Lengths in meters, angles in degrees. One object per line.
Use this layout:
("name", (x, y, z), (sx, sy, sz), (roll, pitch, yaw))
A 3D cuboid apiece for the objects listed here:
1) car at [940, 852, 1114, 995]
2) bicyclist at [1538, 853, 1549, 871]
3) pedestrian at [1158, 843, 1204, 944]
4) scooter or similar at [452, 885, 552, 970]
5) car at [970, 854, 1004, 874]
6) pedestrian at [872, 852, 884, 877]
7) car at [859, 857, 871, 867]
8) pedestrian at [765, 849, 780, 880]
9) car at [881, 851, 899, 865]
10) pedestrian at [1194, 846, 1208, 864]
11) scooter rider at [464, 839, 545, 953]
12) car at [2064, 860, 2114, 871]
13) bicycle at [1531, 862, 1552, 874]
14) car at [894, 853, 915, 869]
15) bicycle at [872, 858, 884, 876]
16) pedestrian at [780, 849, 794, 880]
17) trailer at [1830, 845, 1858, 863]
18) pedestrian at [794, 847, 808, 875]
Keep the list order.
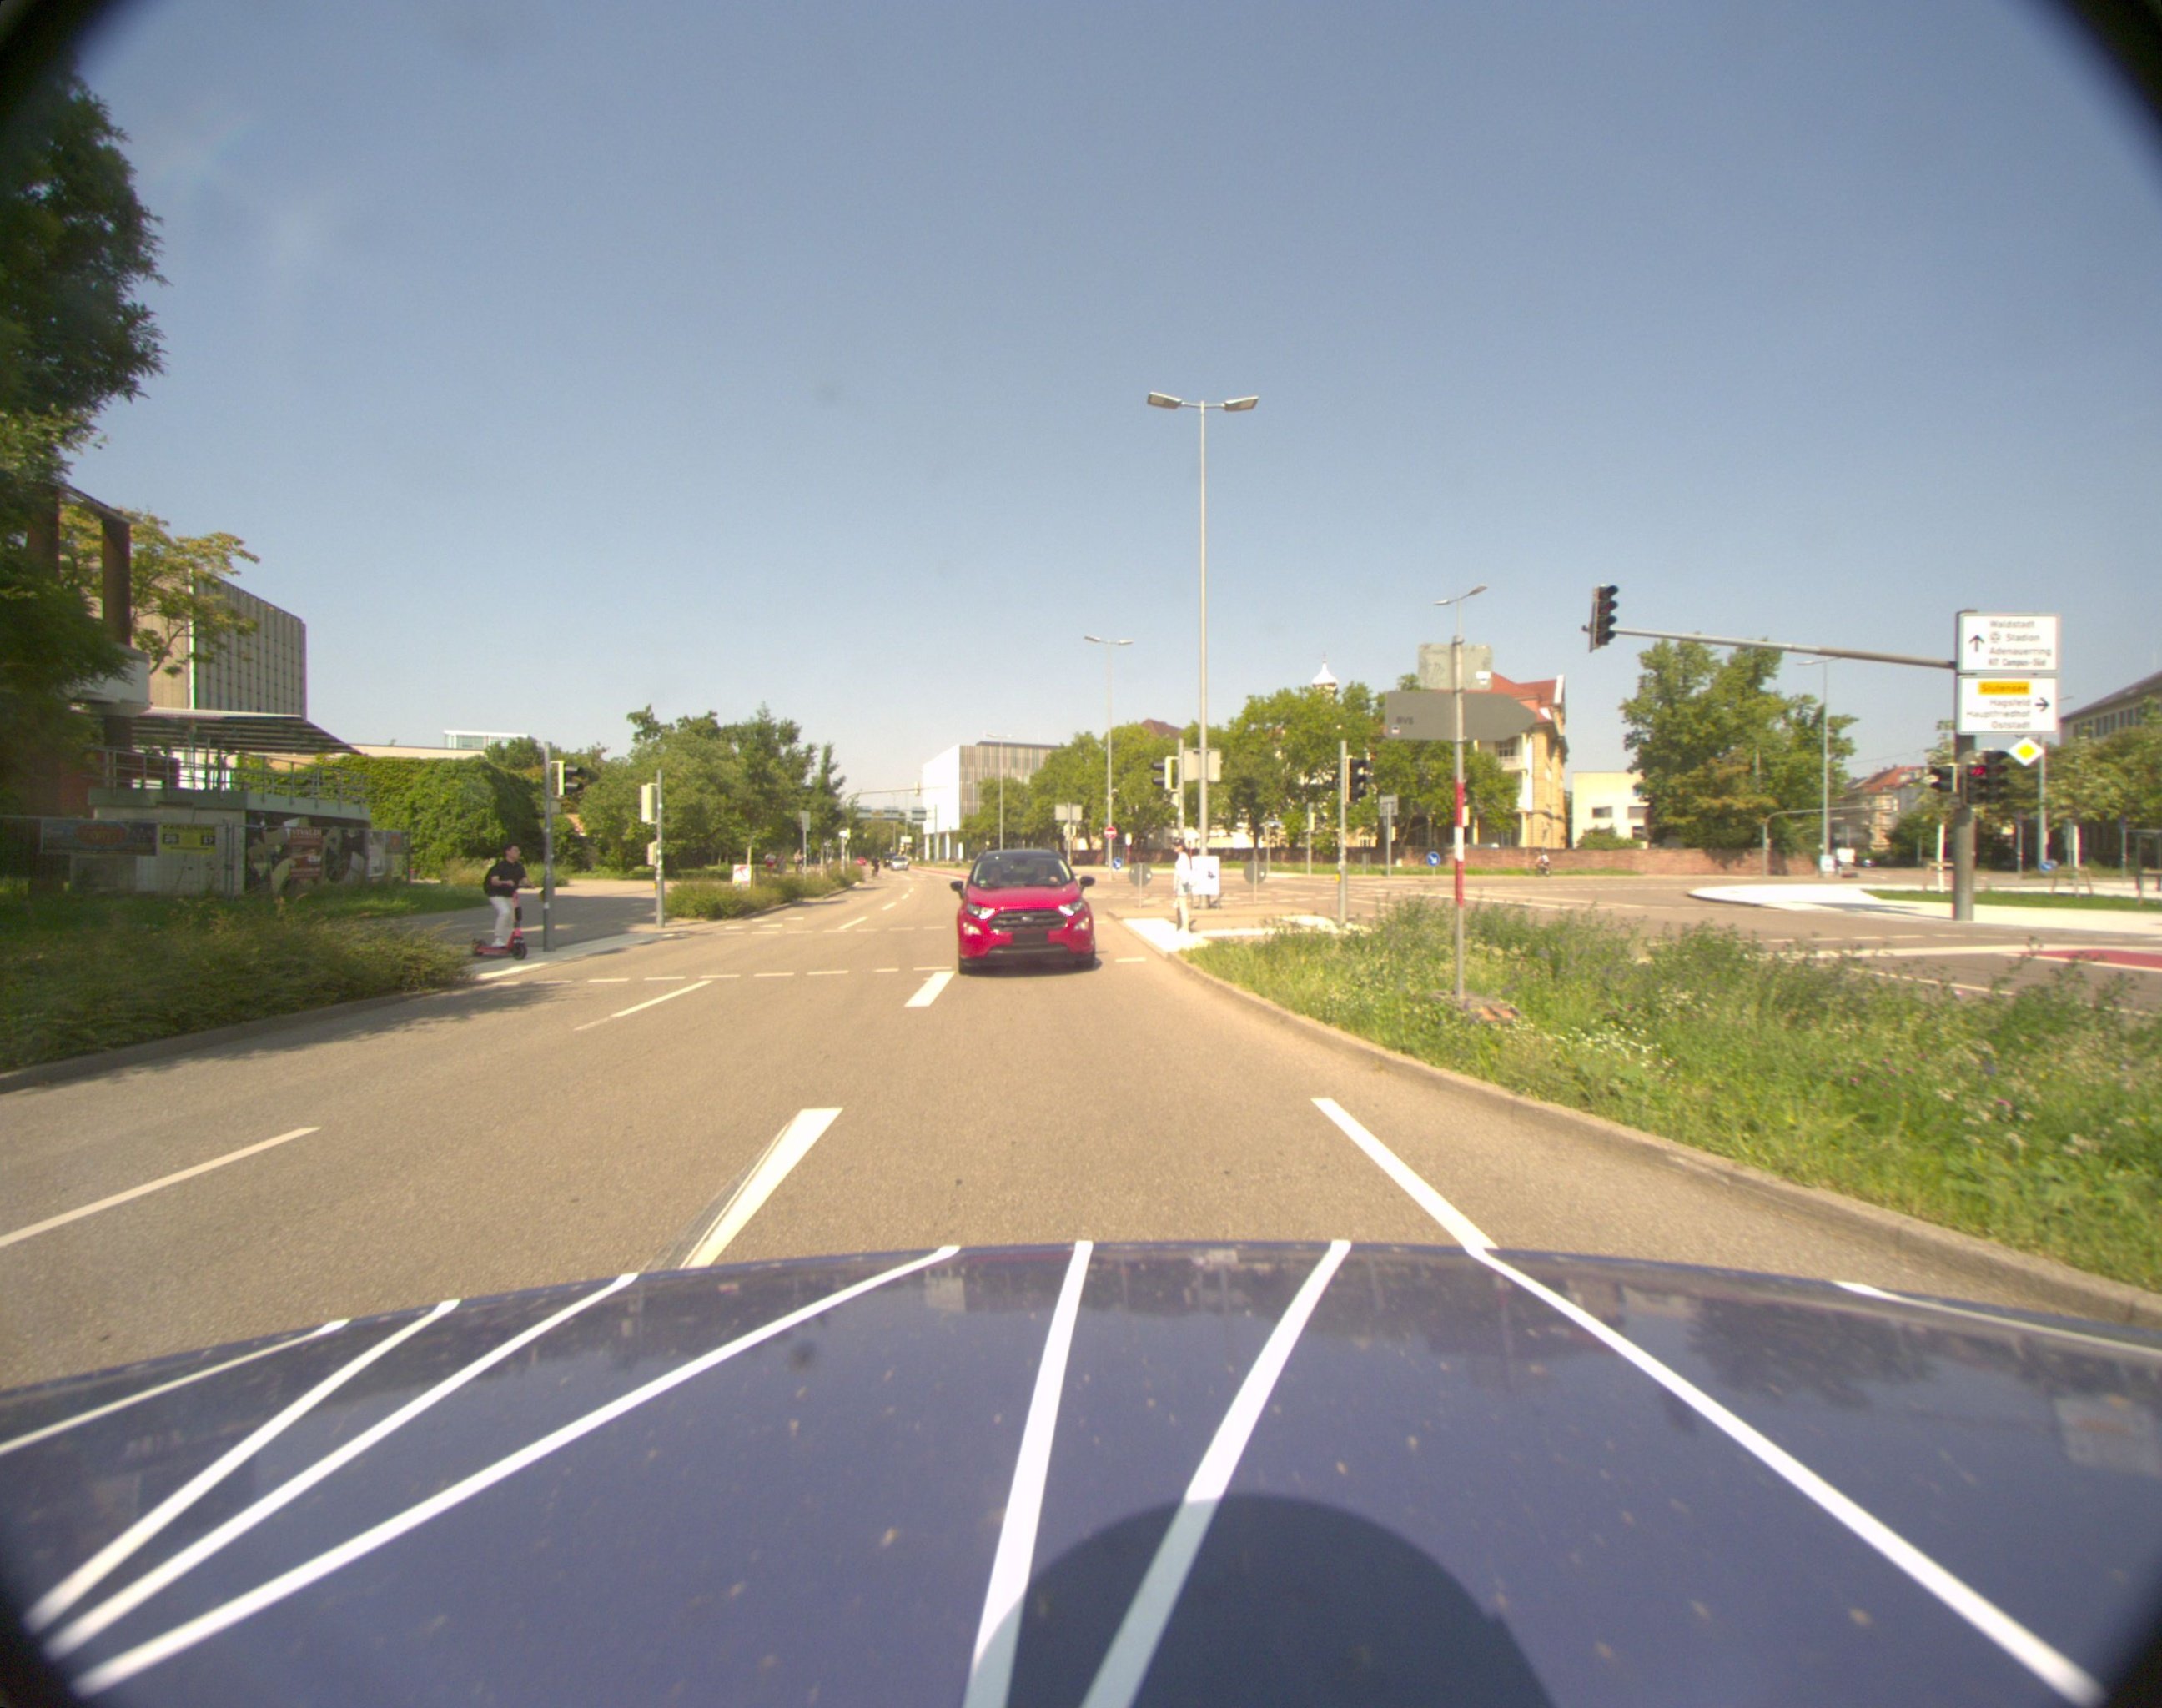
("car", (-0.972, 0.795, 10.904), (1.846, 1.605, 3.995), (-1, 1, -13))
("bicyclist", (31.940, 0.534, 52.468), (0.541, 1.226, 0.432), (0, 1, -23))
("pedestrian", (1.721, 0.662, 13.033), (0.699, 1.685, 0.608), (1, 1, 15))
("scooter or similar", (-9.093, 1.126, 11.939), (1.365, 1.227, 0.586), (1, 1, 19))
("car", (-6.765, 0.695, 54.445), (1.793, 1.349, 3.418), (-2, 1, -18))
("pedestrian", (-13.881, 0.706, 51.930), (0.781, 1.659, 0.548), (0, 1, -17))
("car", (-38.361, 1.400, 134.885), (2.001, 1.769, 3.994), (0, 0, -17))
("pedestrian", (-17.360, 0.592, 42.756), (0.694, 1.761, 0.587), (0, 1, -16))
("car", (-24.867, 0.455, 98.881), (2.001, 1.769, 3.994), (0, 0, -17))
("pedestrian", (13.694, 0.109, 86.630), (1.074, 2.002, 1.231), (0, 1, -40))
("scooter rider", (-9.088, 0.641, 11.997), (0.803, 1.729, 0.690), (1, 1, 19))
("car", (110.207, 1.270, 83.081), (3.050, 1.169, 1.254), (0, 0, 30))
("bicycle", (31.791, 0.975, 52.411), (1.488, 0.807, 0.436), (0, 1, -23))
("car", (-19.521, 0.775, 83.954), (2.001, 1.669, 3.994), (0, 0, -17))
("bicycle", (-13.919, 0.904, 52.069), (0.787, 1.205, 1.786), (0, 0, -17))
("pedestrian", (-16.692, 0.605, 43.098), (0.694, 1.761, 0.587), (0, 1, -16))
("trailer", (140.701, 0.077, 140.132), (2.435, 3.269, 5.099), (0, 0, 32))
("pedestrian", (-18.046, 0.455, 49.032), (0.794, 1.758, 0.825), (0, 1, -17))
